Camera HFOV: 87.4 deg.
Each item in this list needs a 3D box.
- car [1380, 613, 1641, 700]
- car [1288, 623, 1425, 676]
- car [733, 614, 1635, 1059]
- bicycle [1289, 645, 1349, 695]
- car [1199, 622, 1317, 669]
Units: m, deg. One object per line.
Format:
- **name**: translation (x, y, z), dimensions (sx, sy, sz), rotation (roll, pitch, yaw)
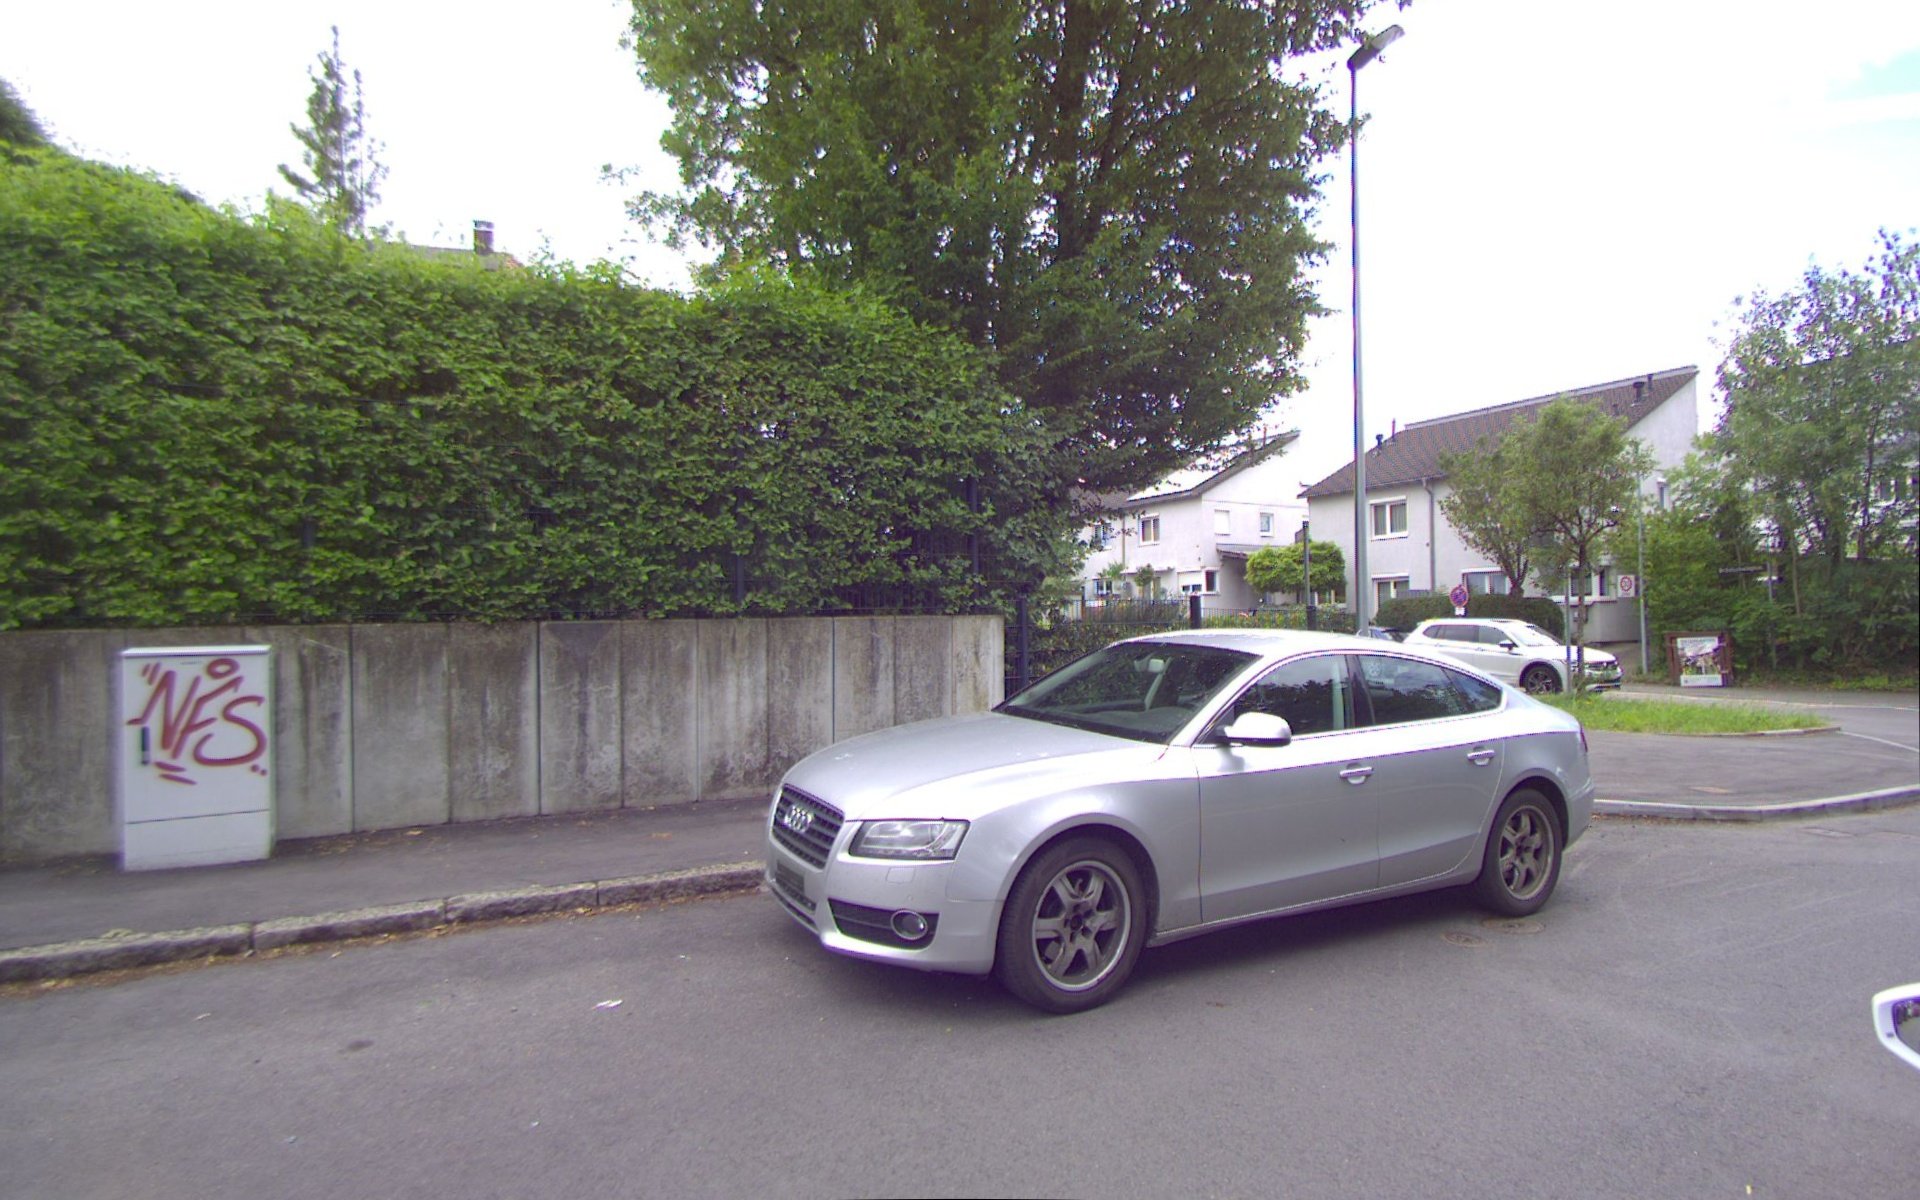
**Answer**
- **car**: translation (12.216, 1.185, 22.690), dimensions (2.011, 1.692, 4.918), rotation (2, -1, -27)
- **car**: translation (11.763, 1.420, 29.976), dimensions (1.654, 1.431, 3.518), rotation (1, -1, -33)
- **car**: translation (1.262, 0.801, 5.100), dimensions (4.391, 1.392, 1.823), rotation (1, 0, -29)
- **bicycle**: translation (8.400, 1.617, 23.608), dimensions (0.639, 1.015, 2.586), rotation (1, -1, 3)
- **car**: translation (9.898, 1.467, 33.611), dimensions (1.512, 1.431, 3.766), rotation (1, -1, -30)
